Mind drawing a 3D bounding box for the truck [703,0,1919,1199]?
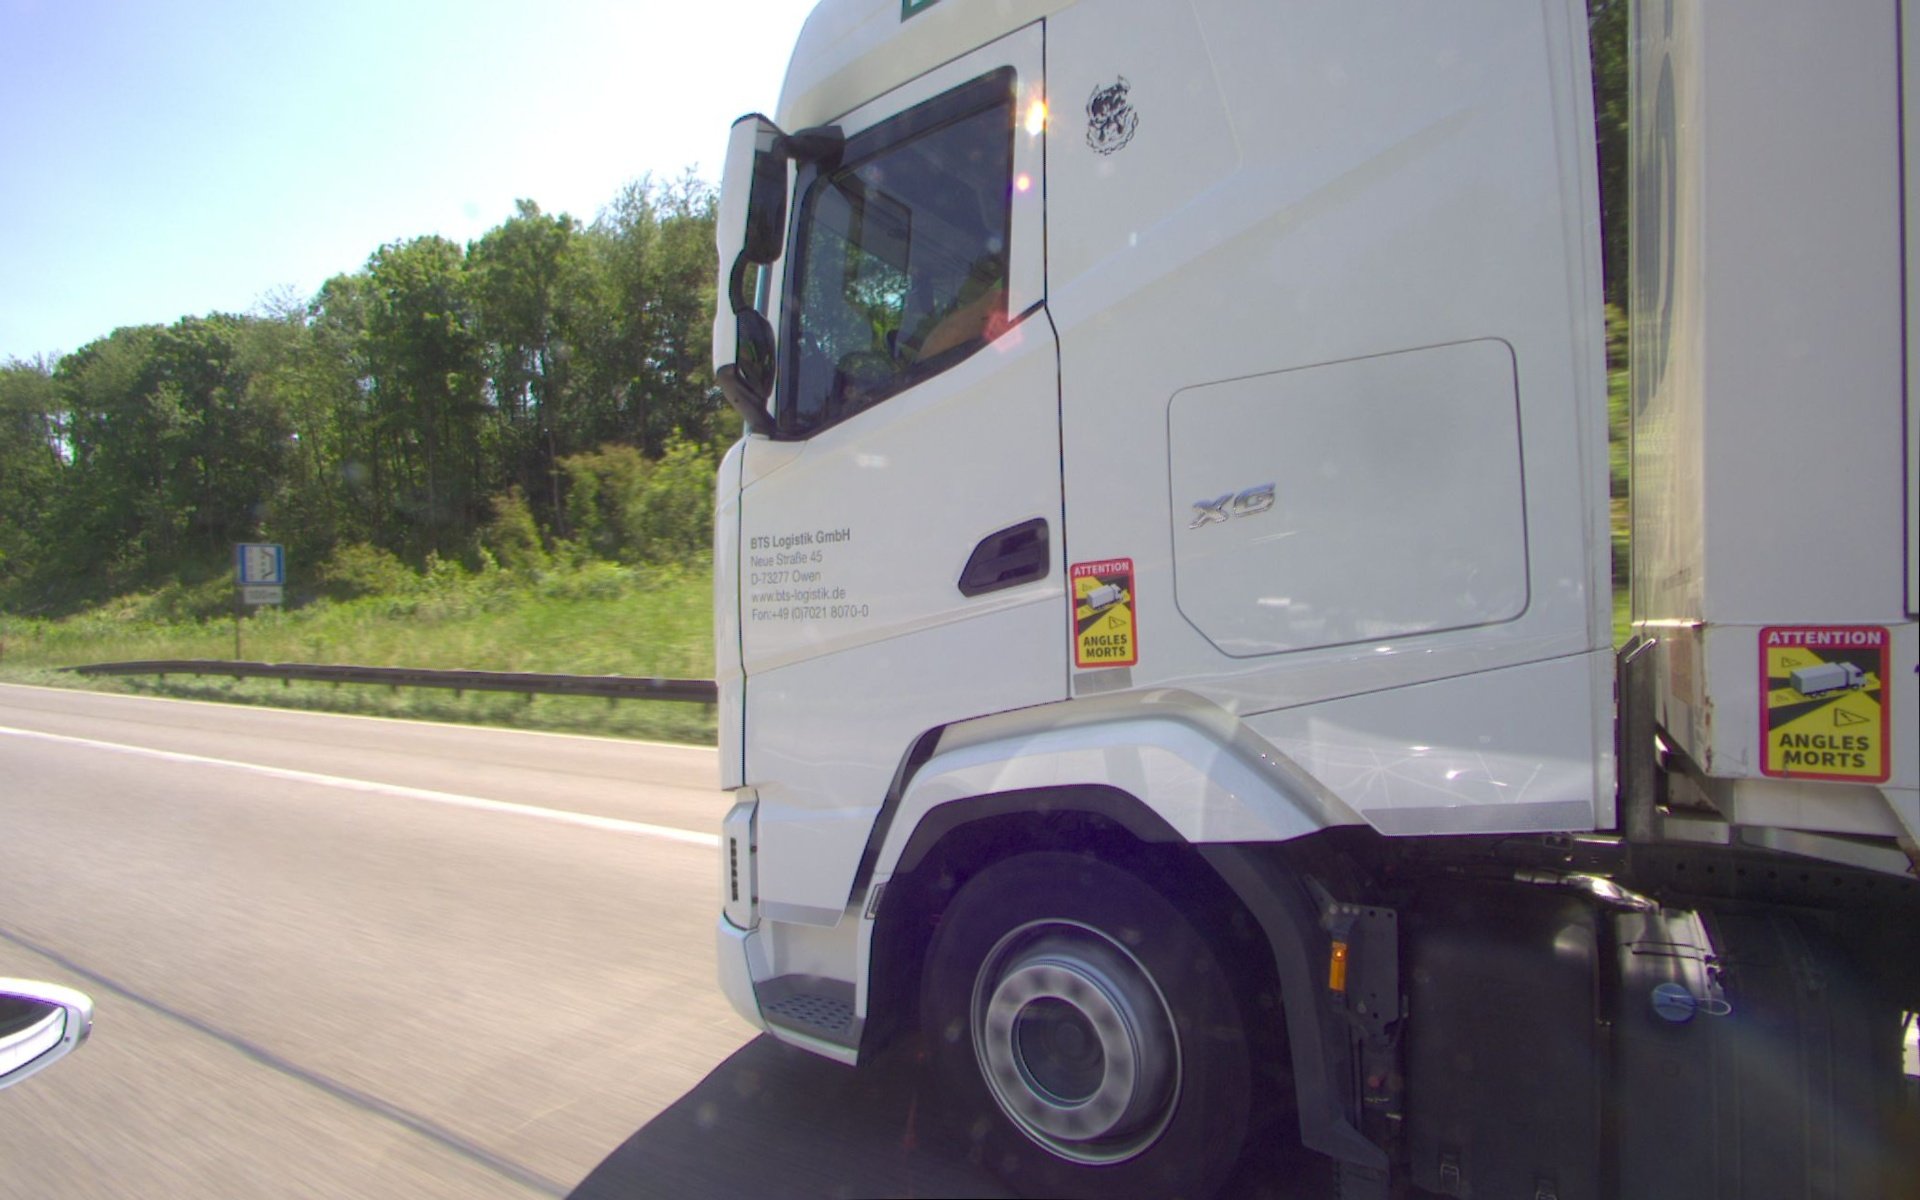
[{"bbox_3d":[4.384,-0.612,1.269,10.472,4.113,2.675,0,0,33],"label":"truck"}]
